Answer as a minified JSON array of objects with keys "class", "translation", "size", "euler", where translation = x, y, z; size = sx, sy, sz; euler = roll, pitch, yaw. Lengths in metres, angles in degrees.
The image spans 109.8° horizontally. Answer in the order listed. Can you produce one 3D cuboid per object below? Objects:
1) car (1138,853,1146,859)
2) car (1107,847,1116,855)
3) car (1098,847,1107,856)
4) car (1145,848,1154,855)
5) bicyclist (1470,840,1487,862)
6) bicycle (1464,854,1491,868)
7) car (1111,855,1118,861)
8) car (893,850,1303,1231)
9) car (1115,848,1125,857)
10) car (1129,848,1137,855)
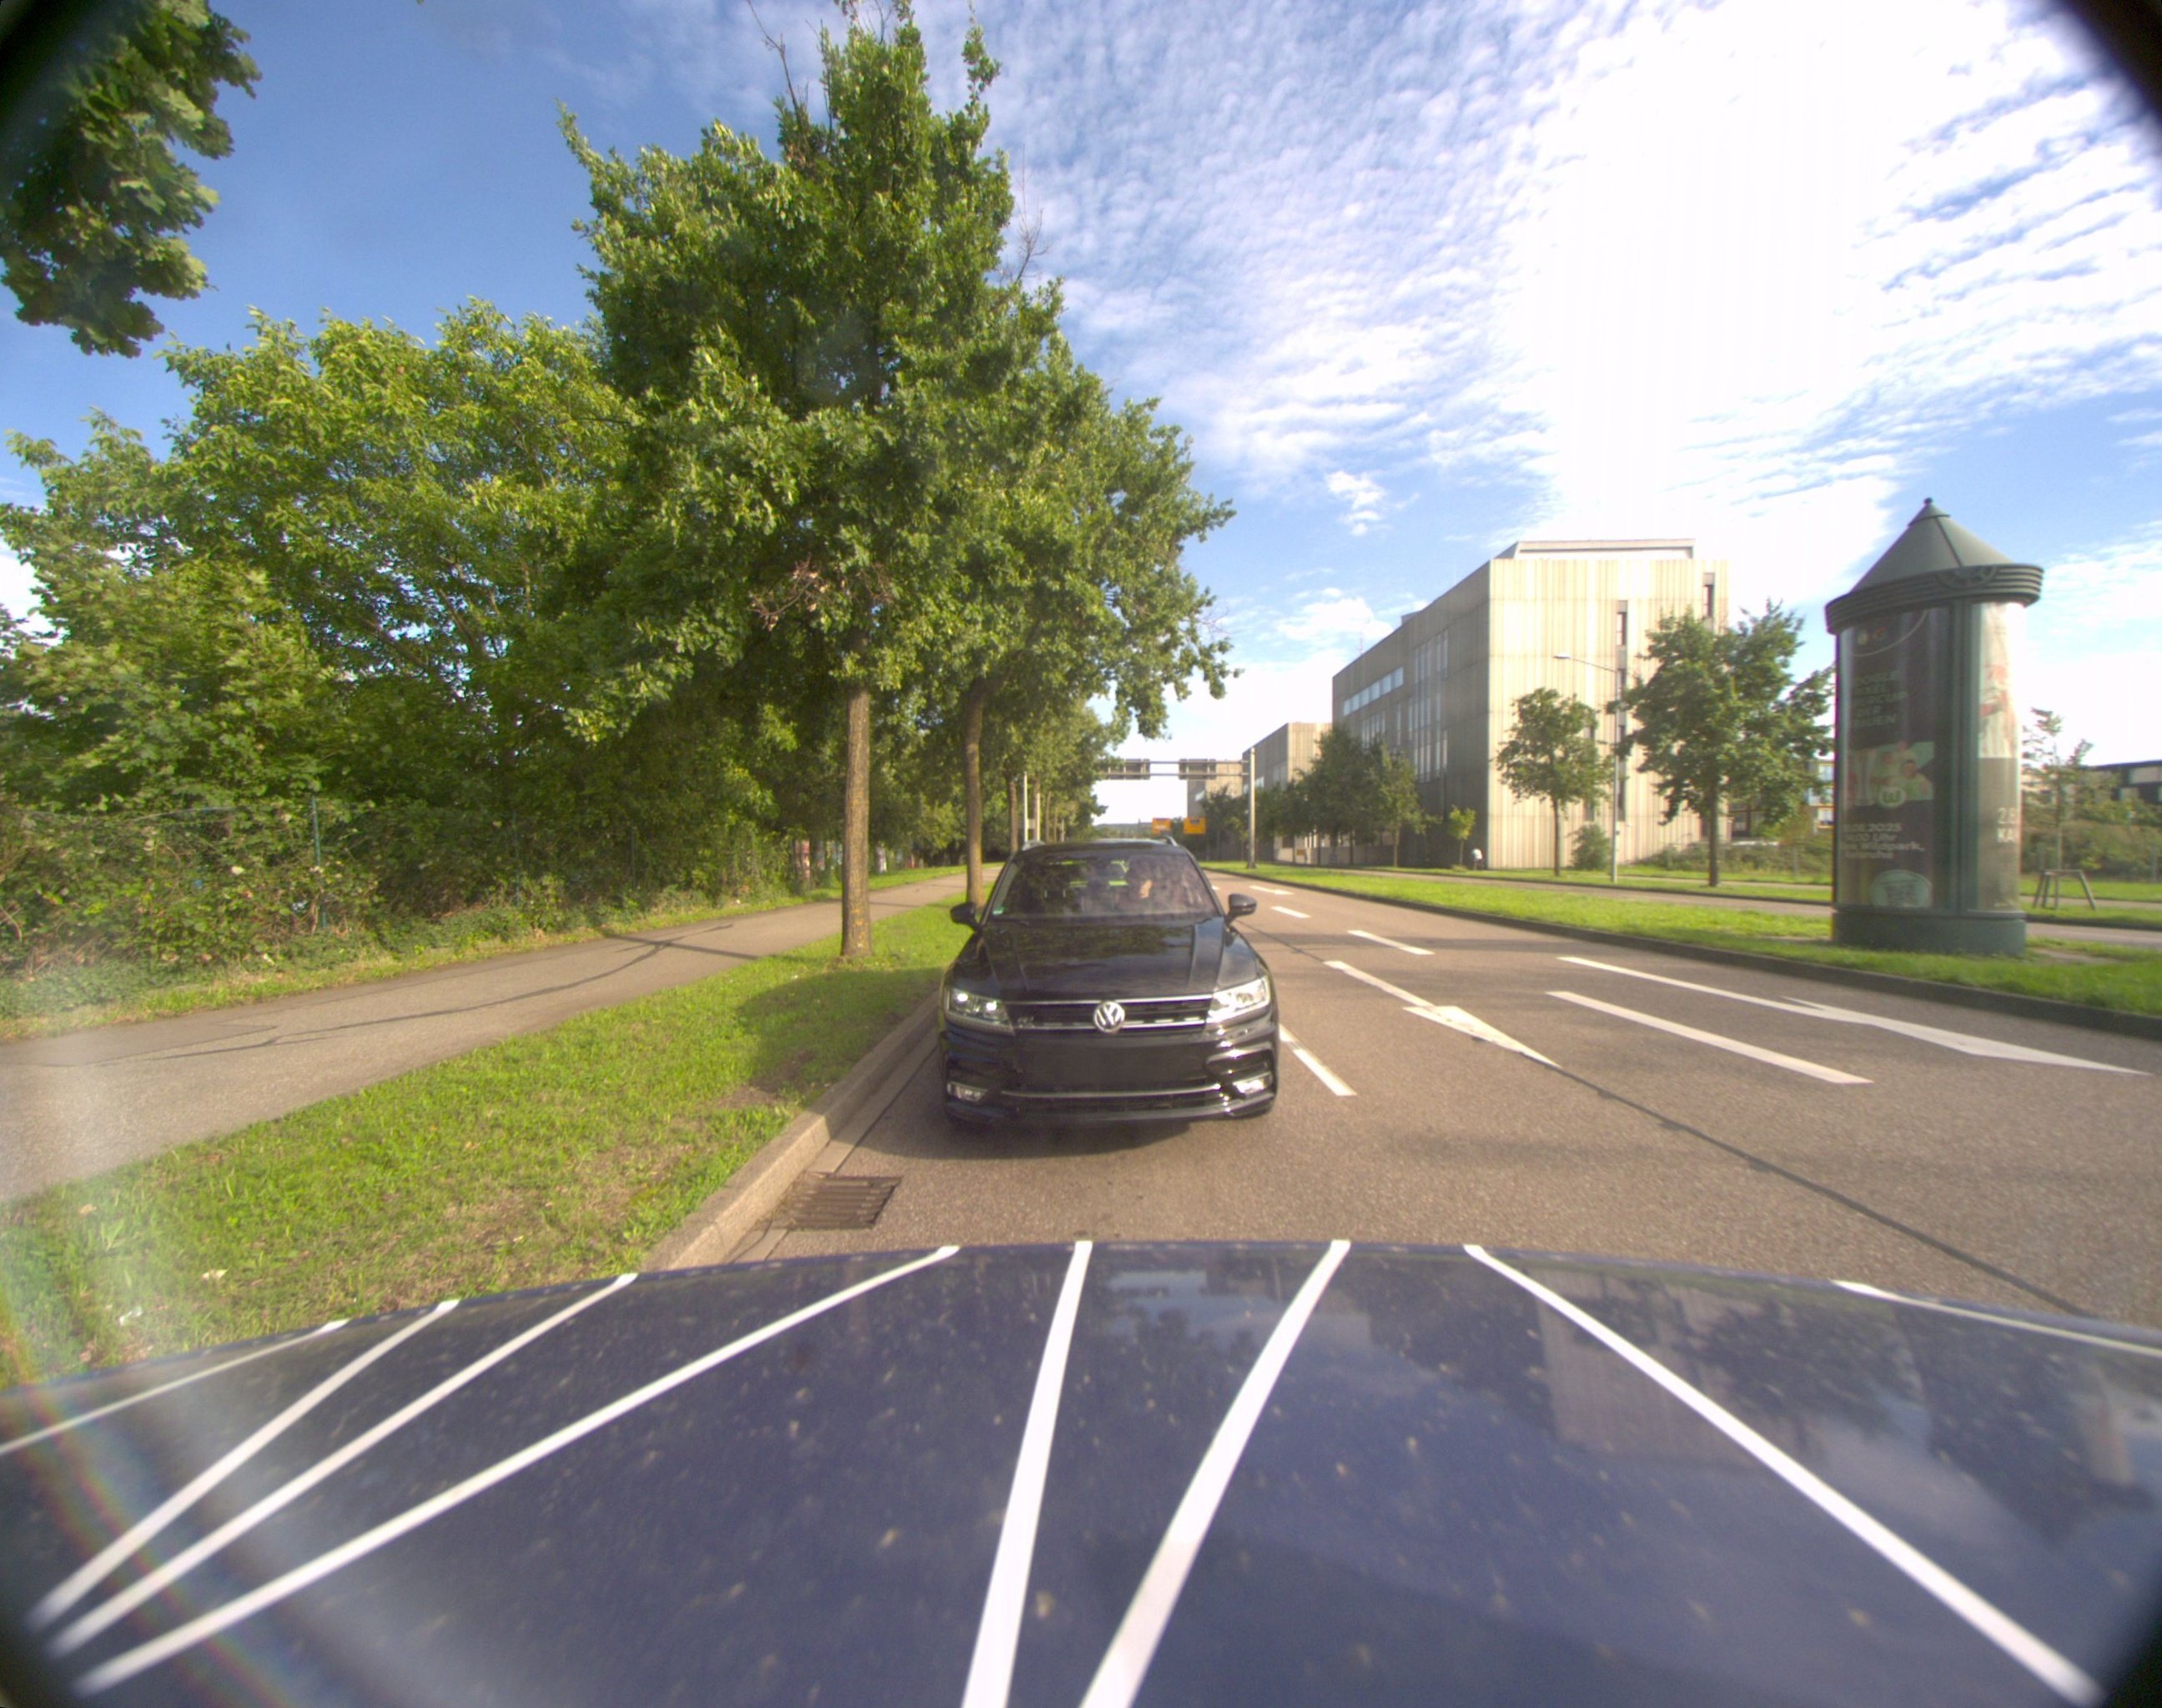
[{"class":"car","translation":[18.886,0.558,235.677],"size":[1.998,2.002,4.000],"euler":[0,0,0]},{"class":"car","translation":[7.698,-0.656,190.901],"size":[1.998,2.002,4.000],"euler":[0,0,0]},{"class":"car","translation":[4.188,-0.485,150.306],"size":[1.758,1.696,4.000],"euler":[-1,0,0]},{"class":"car","translation":[18.126,-0.662,200.319],"size":[1.998,2.002,4.000],"euler":[0,0,0]},{"class":"bicyclist","translation":[28.257,-0.221,54.014],"size":[0.707,1.517,0.989],"euler":[0,1,1]},{"class":"bicycle","translation":[28.240,0.459,54.110],"size":[0.897,0.975,1.911],"euler":[0,0,1]},{"class":"car","translation":[10.222,1.203,232.503],"size":[1.998,2.002,4.000],"euler":[0,0,0]},{"class":"car","translation":[0.129,0.830,5.310],"size":[1.775,1.637,3.868],"euler":[-2,1,2]},{"class":"car","translation":[6.826,-0.303,132.686],"size":[1.745,1.455,4.000],"euler":[-1,1,3]},{"class":"car","translation":[15.820,-0.815,230.738],"size":[1.998,2.002,3.983],"euler":[0,0,0]}]
